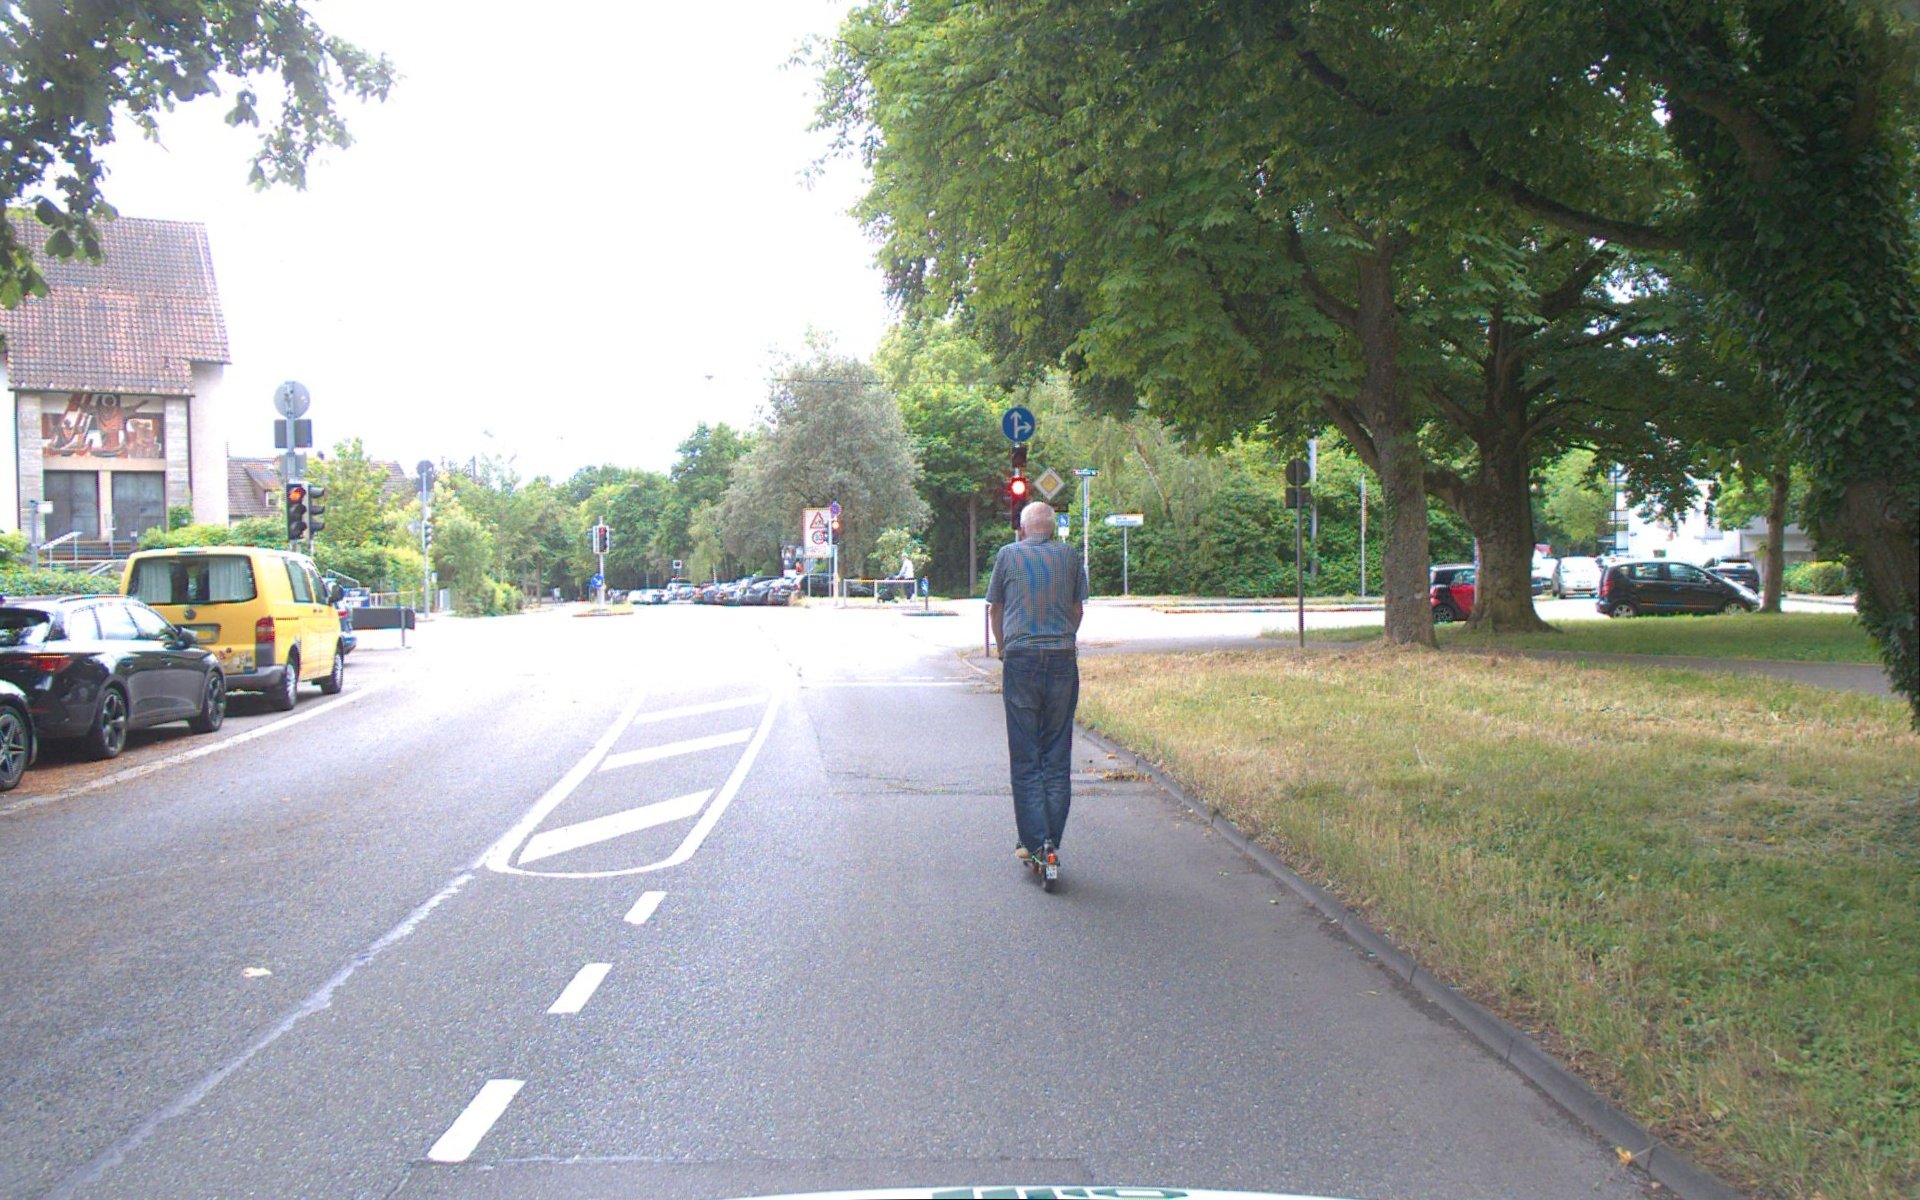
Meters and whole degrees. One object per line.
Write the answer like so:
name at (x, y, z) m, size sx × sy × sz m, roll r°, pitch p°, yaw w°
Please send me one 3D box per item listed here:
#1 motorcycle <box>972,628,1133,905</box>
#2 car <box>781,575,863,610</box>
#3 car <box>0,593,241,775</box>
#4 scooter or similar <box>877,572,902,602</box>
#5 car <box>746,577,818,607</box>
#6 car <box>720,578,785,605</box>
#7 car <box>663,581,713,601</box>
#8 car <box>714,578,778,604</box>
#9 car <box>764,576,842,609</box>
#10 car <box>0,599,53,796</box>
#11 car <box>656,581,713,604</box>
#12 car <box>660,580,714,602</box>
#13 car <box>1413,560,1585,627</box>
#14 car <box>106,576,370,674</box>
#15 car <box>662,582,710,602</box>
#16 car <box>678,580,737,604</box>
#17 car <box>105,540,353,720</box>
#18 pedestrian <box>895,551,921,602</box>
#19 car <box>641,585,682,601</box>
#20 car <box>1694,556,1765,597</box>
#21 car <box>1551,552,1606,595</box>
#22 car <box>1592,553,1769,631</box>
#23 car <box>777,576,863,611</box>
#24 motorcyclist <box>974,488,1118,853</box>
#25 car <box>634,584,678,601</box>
motorcycle at (0.433, 0.781, 8.280) m, size 0.659 × 1.238 × 1.273 m, roll 0°, pitch 1°, yaw -4°
car at (-6.786, -0.379, 81.367) m, size 3.912 × 1.536 × 1.797 m, roll -2°, pitch 1°, yaw -8°
car at (-8.442, 0.698, 15.643) m, size 1.760 × 1.440 × 4.184 m, roll -2°, pitch 1°, yaw -6°
scooter or similar at (-2.521, -0.464, 59.312) m, size 0.695 × 1.067 × 0.788 m, roll -1°, pitch 0°, yaw 14°
car at (-9.860, -0.447, 91.523) m, size 3.912 × 1.536 × 1.797 m, roll -2°, pitch 1°, yaw -8°
car at (-12.794, -0.532, 101.985) m, size 3.912 × 1.536 × 1.797 m, roll -2°, pitch 1°, yaw -8°
car at (-22.241, -0.746, 135.500) m, size 3.912 × 1.536 × 1.797 m, roll -2°, pitch 1°, yaw -8°
car at (-13.408, -0.570, 103.844) m, size 3.912 × 1.536 × 1.797 m, roll -2°, pitch 1°, yaw -8°
car at (-8.055, -0.398, 84.819) m, size 3.912 × 1.536 × 1.797 m, roll -2°, pitch 1°, yaw -8°
car at (-7.827, 0.751, 10.500) m, size 1.855 × 1.435 × 4.550 m, roll -2°, pitch 0°, yaw -4°
car at (-19.707, -0.537, 118.285) m, size 3.912 × 1.536 × 1.797 m, roll -2°, pitch 1°, yaw -8°
car at (-20.579, -0.678, 124.782) m, size 3.912 × 1.536 × 1.797 m, roll -2°, pitch 1°, yaw -8°
car at (13.736, -0.181, 42.348) m, size 3.902 × 1.584 × 1.802 m, roll 0°, pitch 4°, yaw 7°
car at (-12.678, 0.404, 29.280) m, size 3.915 × 1.536 × 1.796 m, roll -1°, pitch 3°, yaw -11°
car at (-22.850, -0.675, 138.045) m, size 3.912 × 1.536 × 1.797 m, roll -2°, pitch 1°, yaw -8°
car at (-17.354, -0.573, 113.721) m, size 3.912 × 1.536 × 1.797 m, roll -2°, pitch 1°, yaw -8°
car at (-9.209, 0.328, 21.234) m, size 1.824 × 1.998 × 4.493 m, roll -2°, pitch 0°, yaw -10°
pedestrian at (-1.849, -0.843, 58.989) m, size 0.716 × 1.792 × 0.662 m, roll -1°, pitch 0°, yaw 14°
car at (-30.280, -0.710, 167.909) m, size 3.912 × 1.536 × 1.797 m, roll -2°, pitch 1°, yaw -8°
car at (30.489, -0.951, 65.622) m, size 2.039 × 1.536 × 4.002 m, roll -1°, pitch 1°, yaw 18°
car at (23.501, -1.009, 62.760) m, size 1.758 × 1.536 × 3.999 m, roll -1°, pitch 1°, yaw 23°
car at (17.876, -0.225, 41.238) m, size 3.905 × 1.756 × 1.801 m, roll 1°, pitch 4°, yaw 20°
car at (-6.608, -0.321, 77.794) m, size 3.912 × 1.536 × 1.797 m, roll -2°, pitch 1°, yaw -8°
motorcyclist at (0.426, 0.342, 8.466) m, size 0.659 × 1.792 × 0.638 m, roll 0°, pitch 1°, yaw -4°
car at (-28.730, -0.714, 156.324) m, size 3.912 × 1.536 × 1.797 m, roll -2°, pitch 1°, yaw -8°
